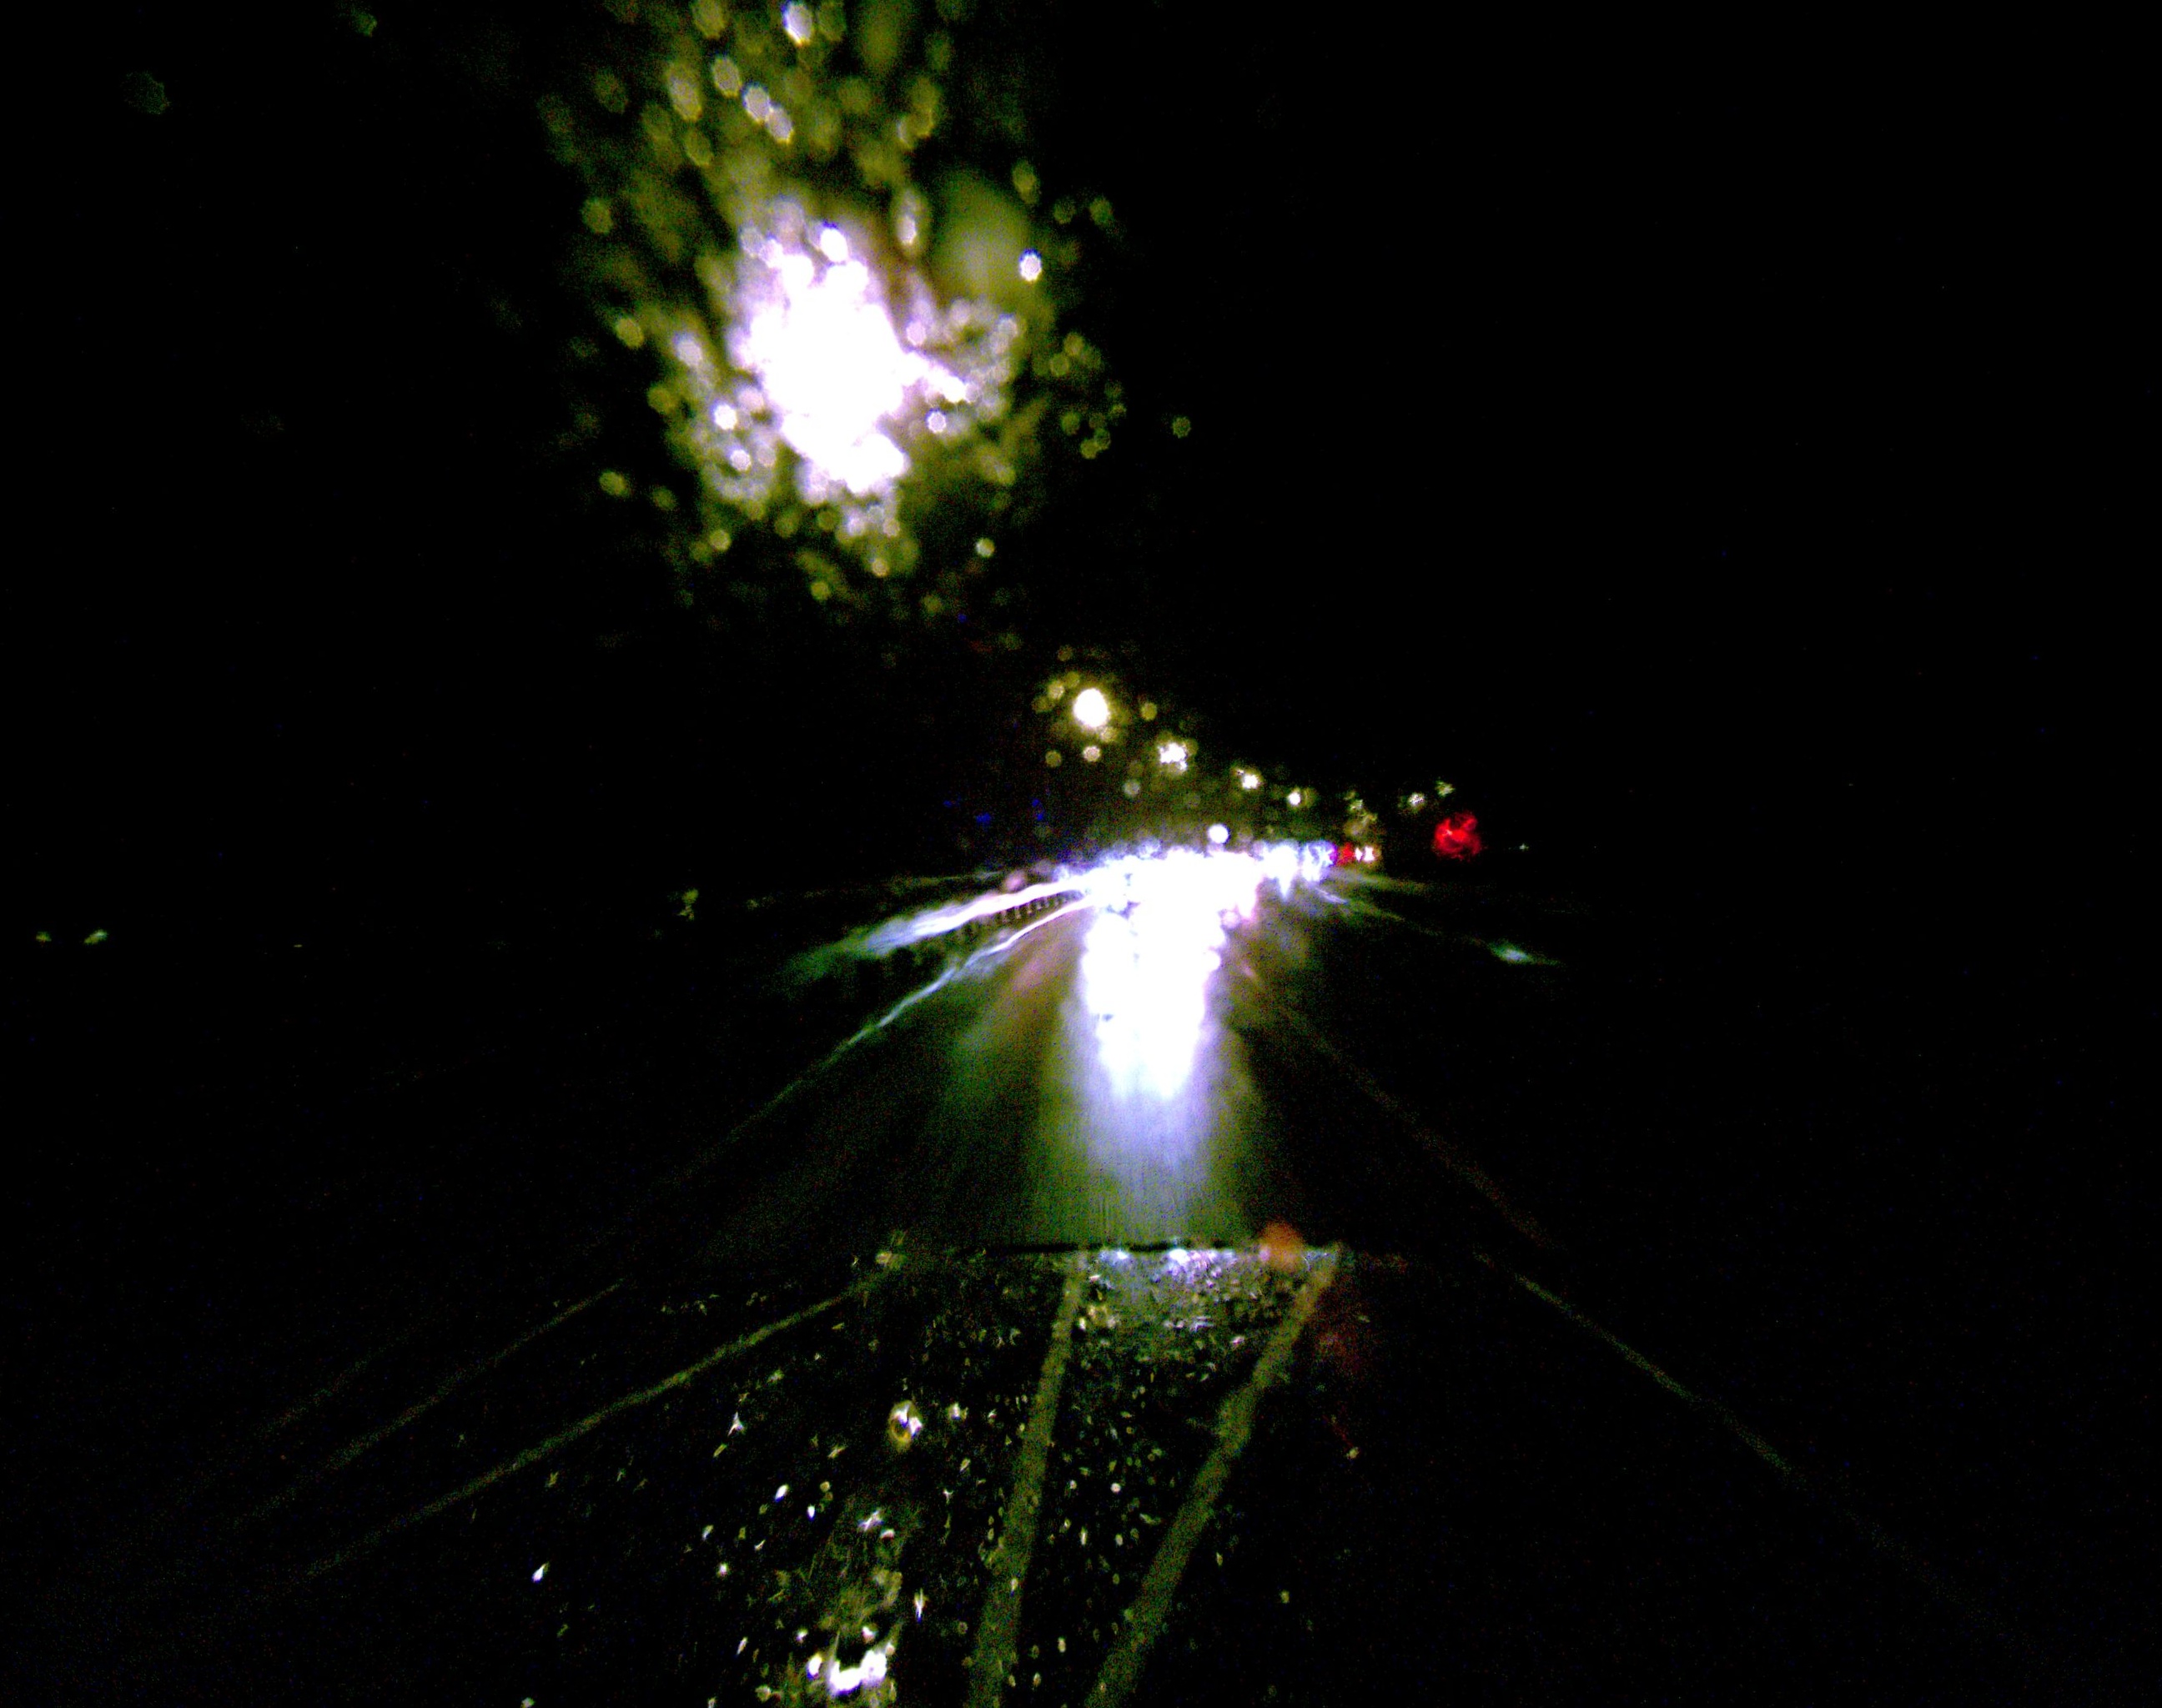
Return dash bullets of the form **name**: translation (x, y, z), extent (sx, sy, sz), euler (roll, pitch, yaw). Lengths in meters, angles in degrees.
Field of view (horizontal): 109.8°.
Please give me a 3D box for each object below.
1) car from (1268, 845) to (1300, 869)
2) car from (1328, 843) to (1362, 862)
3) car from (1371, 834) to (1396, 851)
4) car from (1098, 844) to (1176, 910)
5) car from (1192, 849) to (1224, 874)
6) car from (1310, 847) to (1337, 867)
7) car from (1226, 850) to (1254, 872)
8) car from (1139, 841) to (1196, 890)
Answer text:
- **car**: translation (19.669, 0.311, 73.565), extent (1.653, 2.000, 4.008), euler (-10, -5, 32)
- **car**: translation (25.025, -0.145, 71.952), extent (2.023, 1.709, 4.991), euler (0, 1, 30)
- **car**: translation (33.737, -1.317, 84.611), extent (1.754, 1.850, 4.008), euler (1, 1, 34)
- **car**: translation (1.717, 0.646, 21.893), extent (1.926, 1.704, 4.243), euler (1, -1, 8)
- **car**: translation (8.029, 0.475, 47.996), extent (1.520, 1.516, 3.111), euler (-1, 0, 18)
- **car**: translation (27.487, 0.340, 86.179), extent (1.653, 2.000, 4.008), euler (-10, -5, 32)
- **car**: translation (12.243, 0.528, 58.395), extent (1.303, 1.519, 3.051), euler (-8, -3, 24)
- **car**: translation (3.891, 0.440, 33.562), extent (1.996, 2.002, 4.003), euler (-2, 1, 13)
